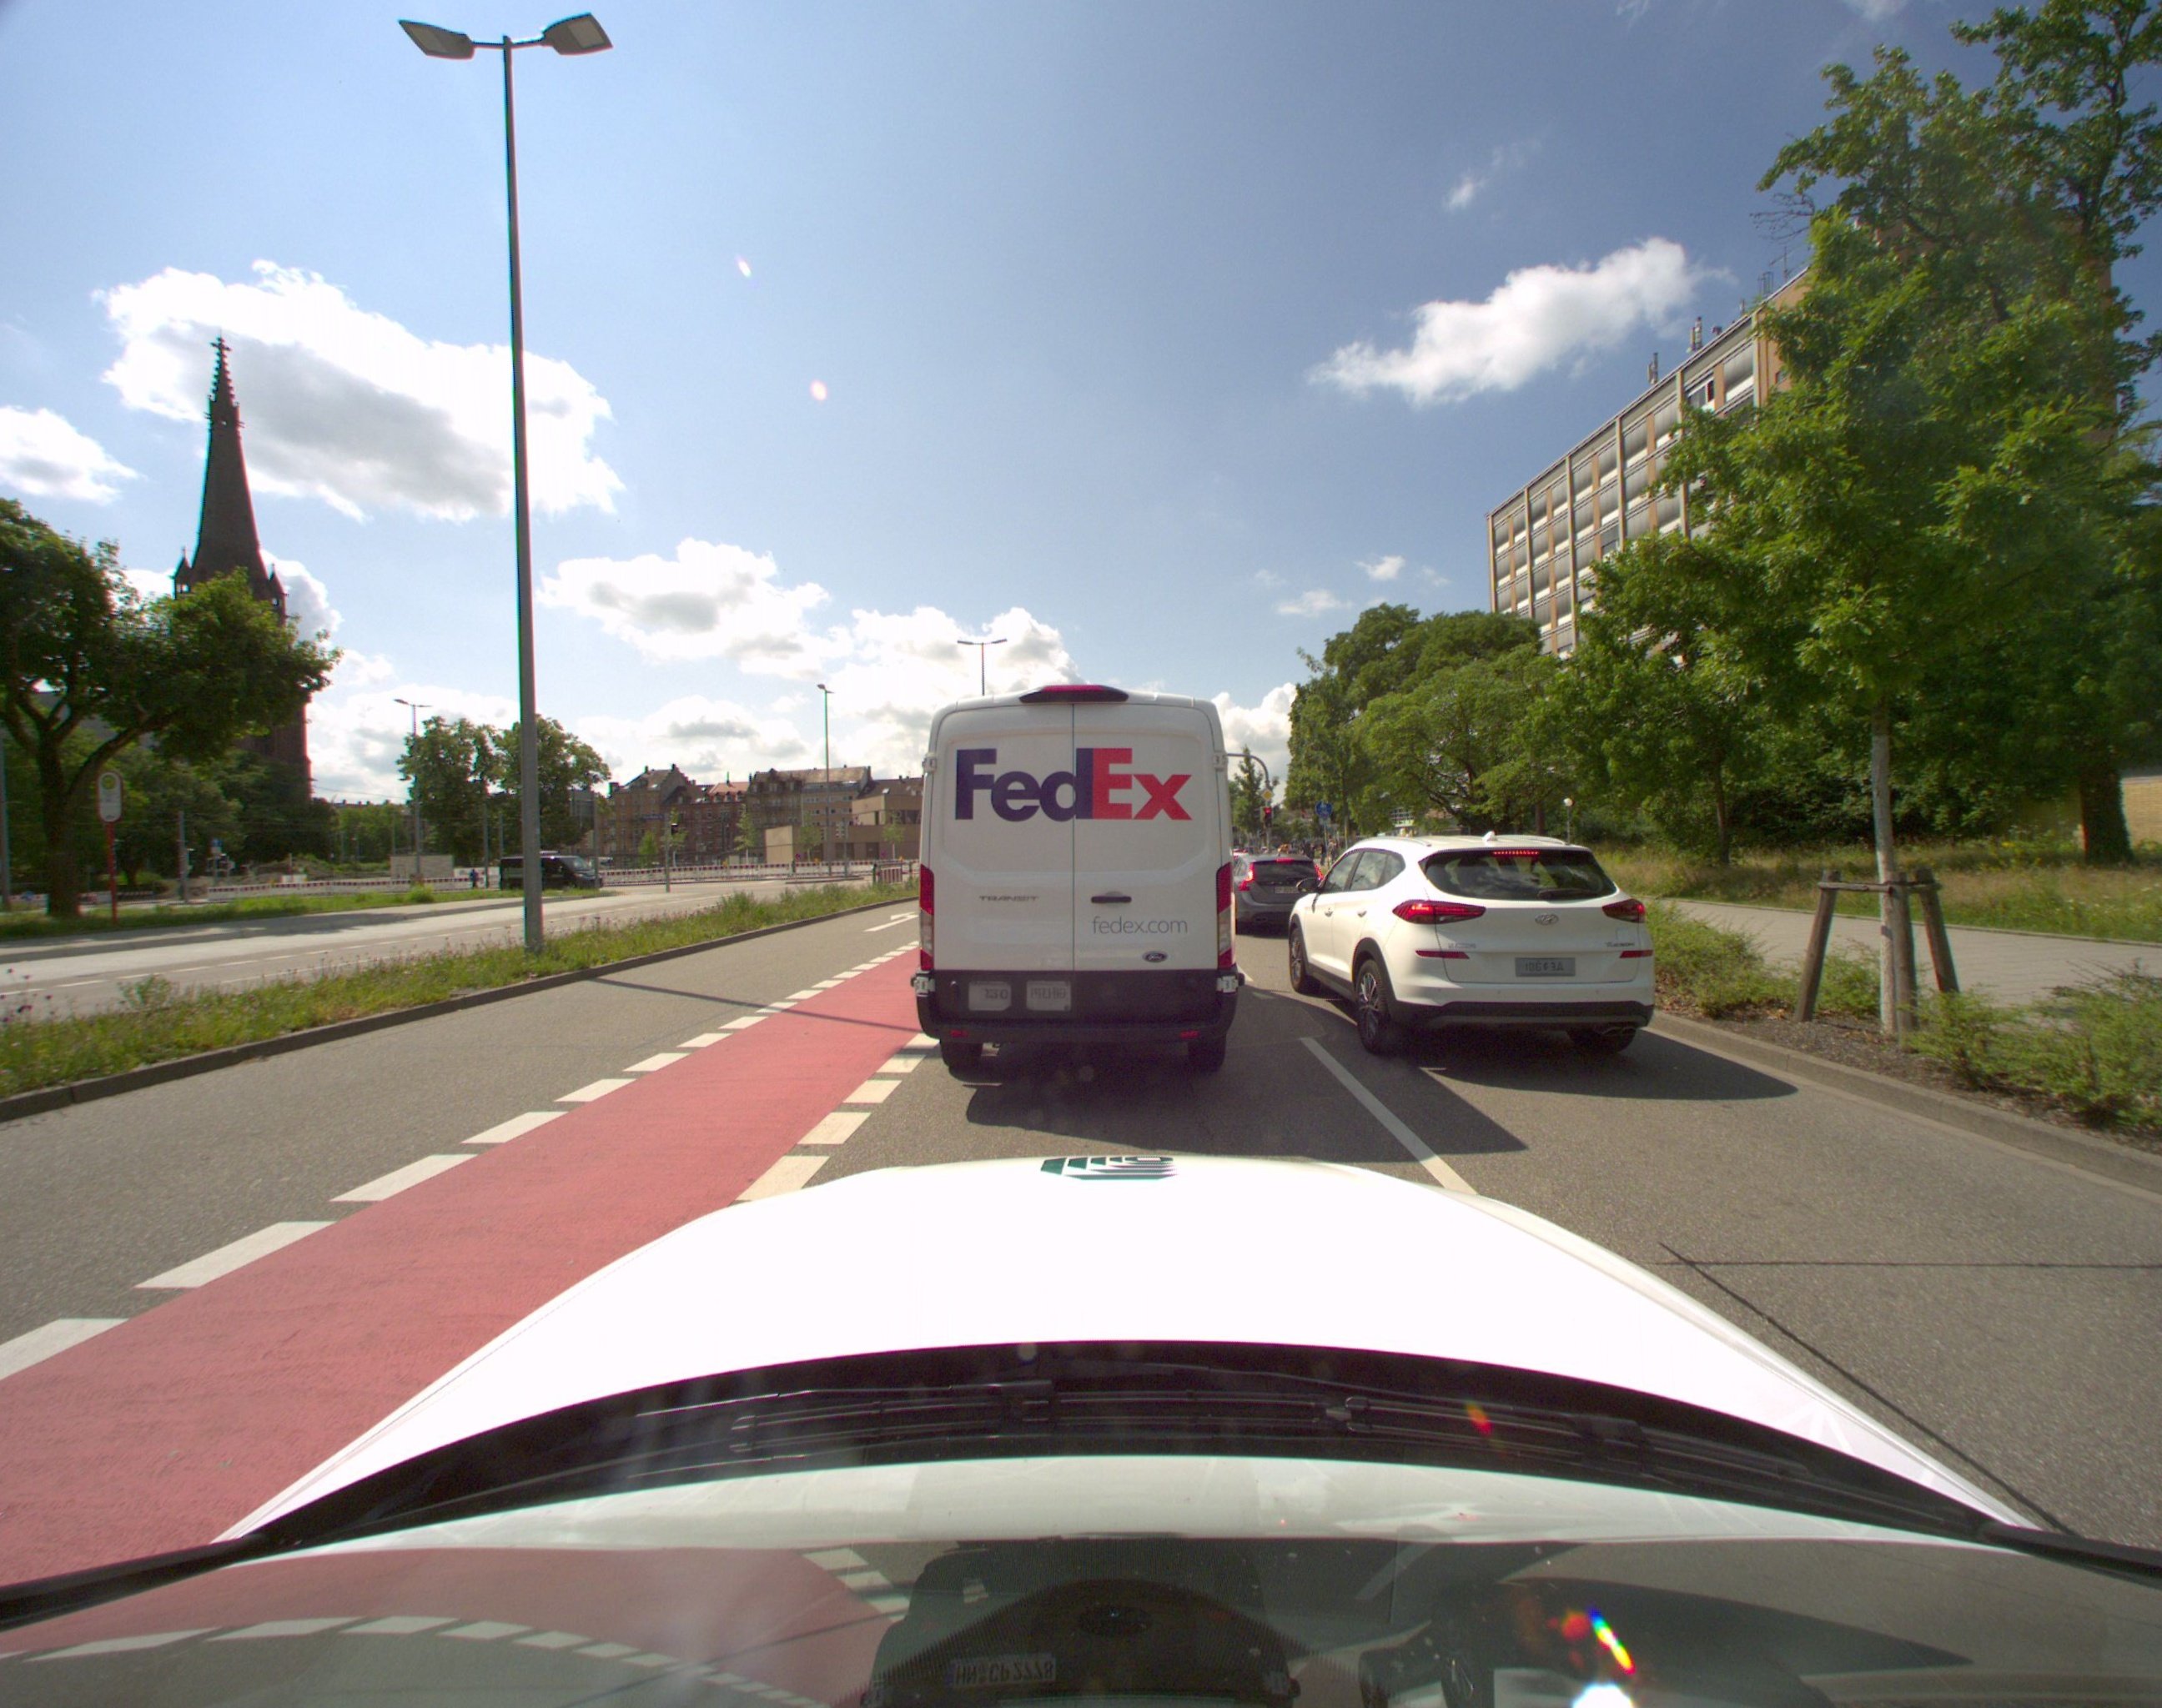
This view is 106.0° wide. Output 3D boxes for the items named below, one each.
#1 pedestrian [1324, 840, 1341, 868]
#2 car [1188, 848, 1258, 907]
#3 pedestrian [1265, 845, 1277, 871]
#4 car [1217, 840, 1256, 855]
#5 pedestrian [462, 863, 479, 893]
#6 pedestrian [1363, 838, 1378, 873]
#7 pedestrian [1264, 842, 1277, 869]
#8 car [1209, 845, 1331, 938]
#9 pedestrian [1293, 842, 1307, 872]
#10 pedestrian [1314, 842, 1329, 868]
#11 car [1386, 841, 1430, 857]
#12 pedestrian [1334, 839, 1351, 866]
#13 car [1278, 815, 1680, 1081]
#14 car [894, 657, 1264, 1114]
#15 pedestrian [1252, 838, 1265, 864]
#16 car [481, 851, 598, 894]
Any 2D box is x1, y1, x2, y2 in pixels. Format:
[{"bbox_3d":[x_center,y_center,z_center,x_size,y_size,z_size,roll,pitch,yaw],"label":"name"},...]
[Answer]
[{"bbox_3d":[17.045,0.011,55.185,0.758,1.849,0.814,-2,0,-8],"label":"pedestrian"},{"bbox_3d":[3.870,0.604,22.640,1.493,1.464,3.477,-2,0,3],"label":"car"},{"bbox_3d":[13.721,0.300,58.885,0.753,1.849,0.820,-2,0,16],"label":"pedestrian"},{"bbox_3d":[29.182,-1.181,153.067,7.023,2.717,2.501,0,-1,7],"label":"car"},{"bbox_3d":[-43.041,1.683,57.386,0.644,2.013,0.632,-2,0,-1],"label":"pedestrian"},{"bbox_3d":[15.950,0.077,44.877,0.752,1.849,0.820,-2,0,18],"label":"pedestrian"},{"bbox_3d":[13.158,0.089,56.542,0.752,1.849,0.820,-2,0,20],"label":"pedestrian"},{"bbox_3d":[3.551,0.634,15.899,1.684,1.549,3.724,-2,0,3],"label":"car"},{"bbox_3d":[13.822,0.183,51.341,0.752,1.849,0.820,-2,0,20],"label":"pedestrian"},{"bbox_3d":[15.922,0.079,53.859,0.755,1.655,0.817,-2,0,5],"label":"pedestrian"},{"bbox_3d":[58.452,-0.895,145.690,7.062,2.717,2.487,0,-1,-10],"label":"car"},{"bbox_3d":[17.902,-0.110,55.755,0.758,1.849,0.814,-2,0,-6],"label":"pedestrian"},{"bbox_3d":[3.050,0.597,7.265,1.807,1.678,3.978,-2,0,3],"label":"car"},{"bbox_3d":[0.110,0.175,6.919,2.064,2.581,4.432,-2,0,3],"label":"car"},{"bbox_3d":[13.038,-0.205,59.759,0.810,1.849,0.762,-2,0,5],"label":"pedestrian"},{"bbox_3d":[-30.168,1.016,45.482,4.989,2.175,2.153,-2,0,-2],"label":"car"}]
